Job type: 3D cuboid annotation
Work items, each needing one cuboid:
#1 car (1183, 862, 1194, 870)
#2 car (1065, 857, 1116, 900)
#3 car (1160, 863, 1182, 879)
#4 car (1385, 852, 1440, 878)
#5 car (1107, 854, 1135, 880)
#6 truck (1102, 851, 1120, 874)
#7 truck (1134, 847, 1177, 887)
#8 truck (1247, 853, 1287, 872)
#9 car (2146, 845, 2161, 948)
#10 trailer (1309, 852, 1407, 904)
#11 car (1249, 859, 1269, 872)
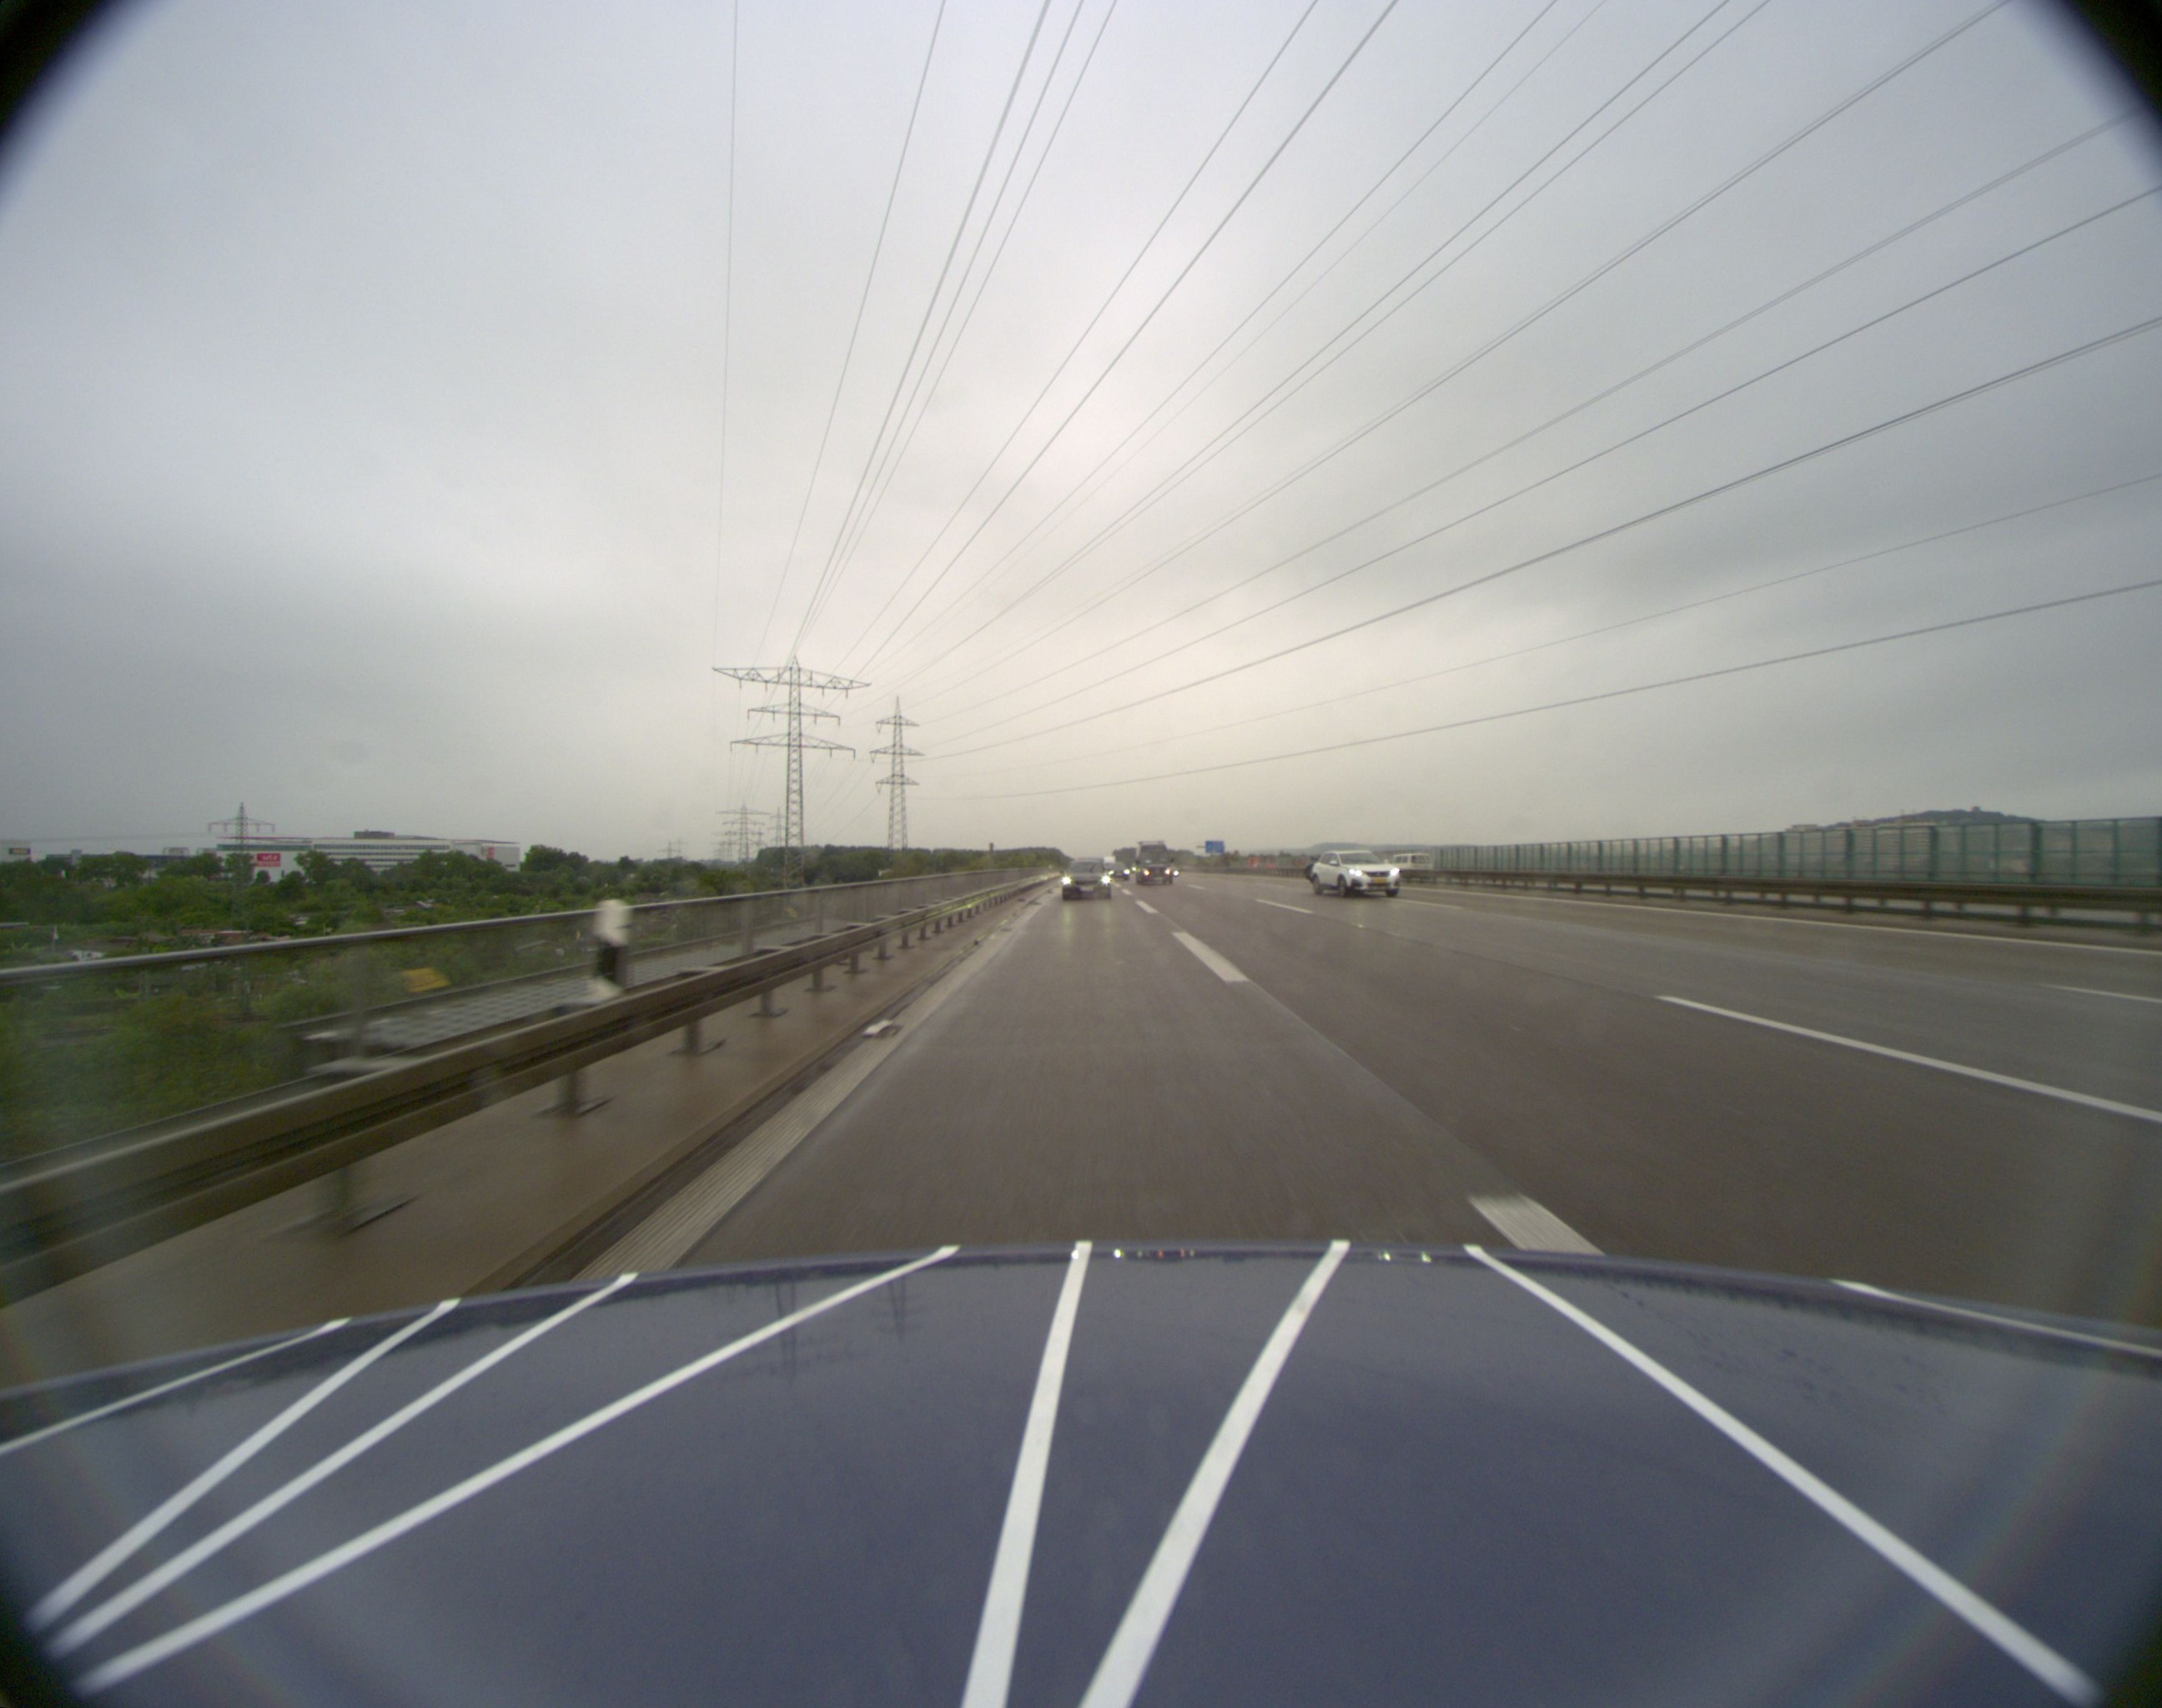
[{"bbox_3d":[25.482,2.913,180.360,1.903,1.762,3.999,-2,1,1],"label":"car"},{"bbox_3d":[0.325,0.933,30.620,1.862,1.531,4.203,-2,0,-1],"label":"car"},{"bbox_3d":[8.670,1.607,73.640,1.729,1.394,4.830,-2,-1,2],"label":"car"},{"bbox_3d":[23.617,0.754,54.364,1.926,1.734,4.467,-2,1,0],"label":"car"},{"bbox_3d":[3.263,1.015,62.791,1.999,2.002,4.784,-2,0,-1],"label":"car"},{"bbox_3d":[5.682,1.720,145.248,2.704,4.171,8.924,-2,-1,0],"label":"truck"},{"bbox_3d":[4.635,0.748,48.145,1.999,2.324,6.109,-1,0,-1],"label":"truck"},{"bbox_3d":[32.259,1.378,132.465,3.619,2.819,14.319,-2,1,1],"label":"truck"},{"bbox_3d":[19.168,0.756,10.749,1.846,1.734,4.467,2,1,0],"label":"car"},{"bbox_3d":[9.584,0.793,26.678,1.819,1.615,4.568,-1,0,1],"label":"trailer"},{"bbox_3d":[23.997,1.529,102.410,1.629,1.575,3.786,-7,-1,1],"label":"car"}]
